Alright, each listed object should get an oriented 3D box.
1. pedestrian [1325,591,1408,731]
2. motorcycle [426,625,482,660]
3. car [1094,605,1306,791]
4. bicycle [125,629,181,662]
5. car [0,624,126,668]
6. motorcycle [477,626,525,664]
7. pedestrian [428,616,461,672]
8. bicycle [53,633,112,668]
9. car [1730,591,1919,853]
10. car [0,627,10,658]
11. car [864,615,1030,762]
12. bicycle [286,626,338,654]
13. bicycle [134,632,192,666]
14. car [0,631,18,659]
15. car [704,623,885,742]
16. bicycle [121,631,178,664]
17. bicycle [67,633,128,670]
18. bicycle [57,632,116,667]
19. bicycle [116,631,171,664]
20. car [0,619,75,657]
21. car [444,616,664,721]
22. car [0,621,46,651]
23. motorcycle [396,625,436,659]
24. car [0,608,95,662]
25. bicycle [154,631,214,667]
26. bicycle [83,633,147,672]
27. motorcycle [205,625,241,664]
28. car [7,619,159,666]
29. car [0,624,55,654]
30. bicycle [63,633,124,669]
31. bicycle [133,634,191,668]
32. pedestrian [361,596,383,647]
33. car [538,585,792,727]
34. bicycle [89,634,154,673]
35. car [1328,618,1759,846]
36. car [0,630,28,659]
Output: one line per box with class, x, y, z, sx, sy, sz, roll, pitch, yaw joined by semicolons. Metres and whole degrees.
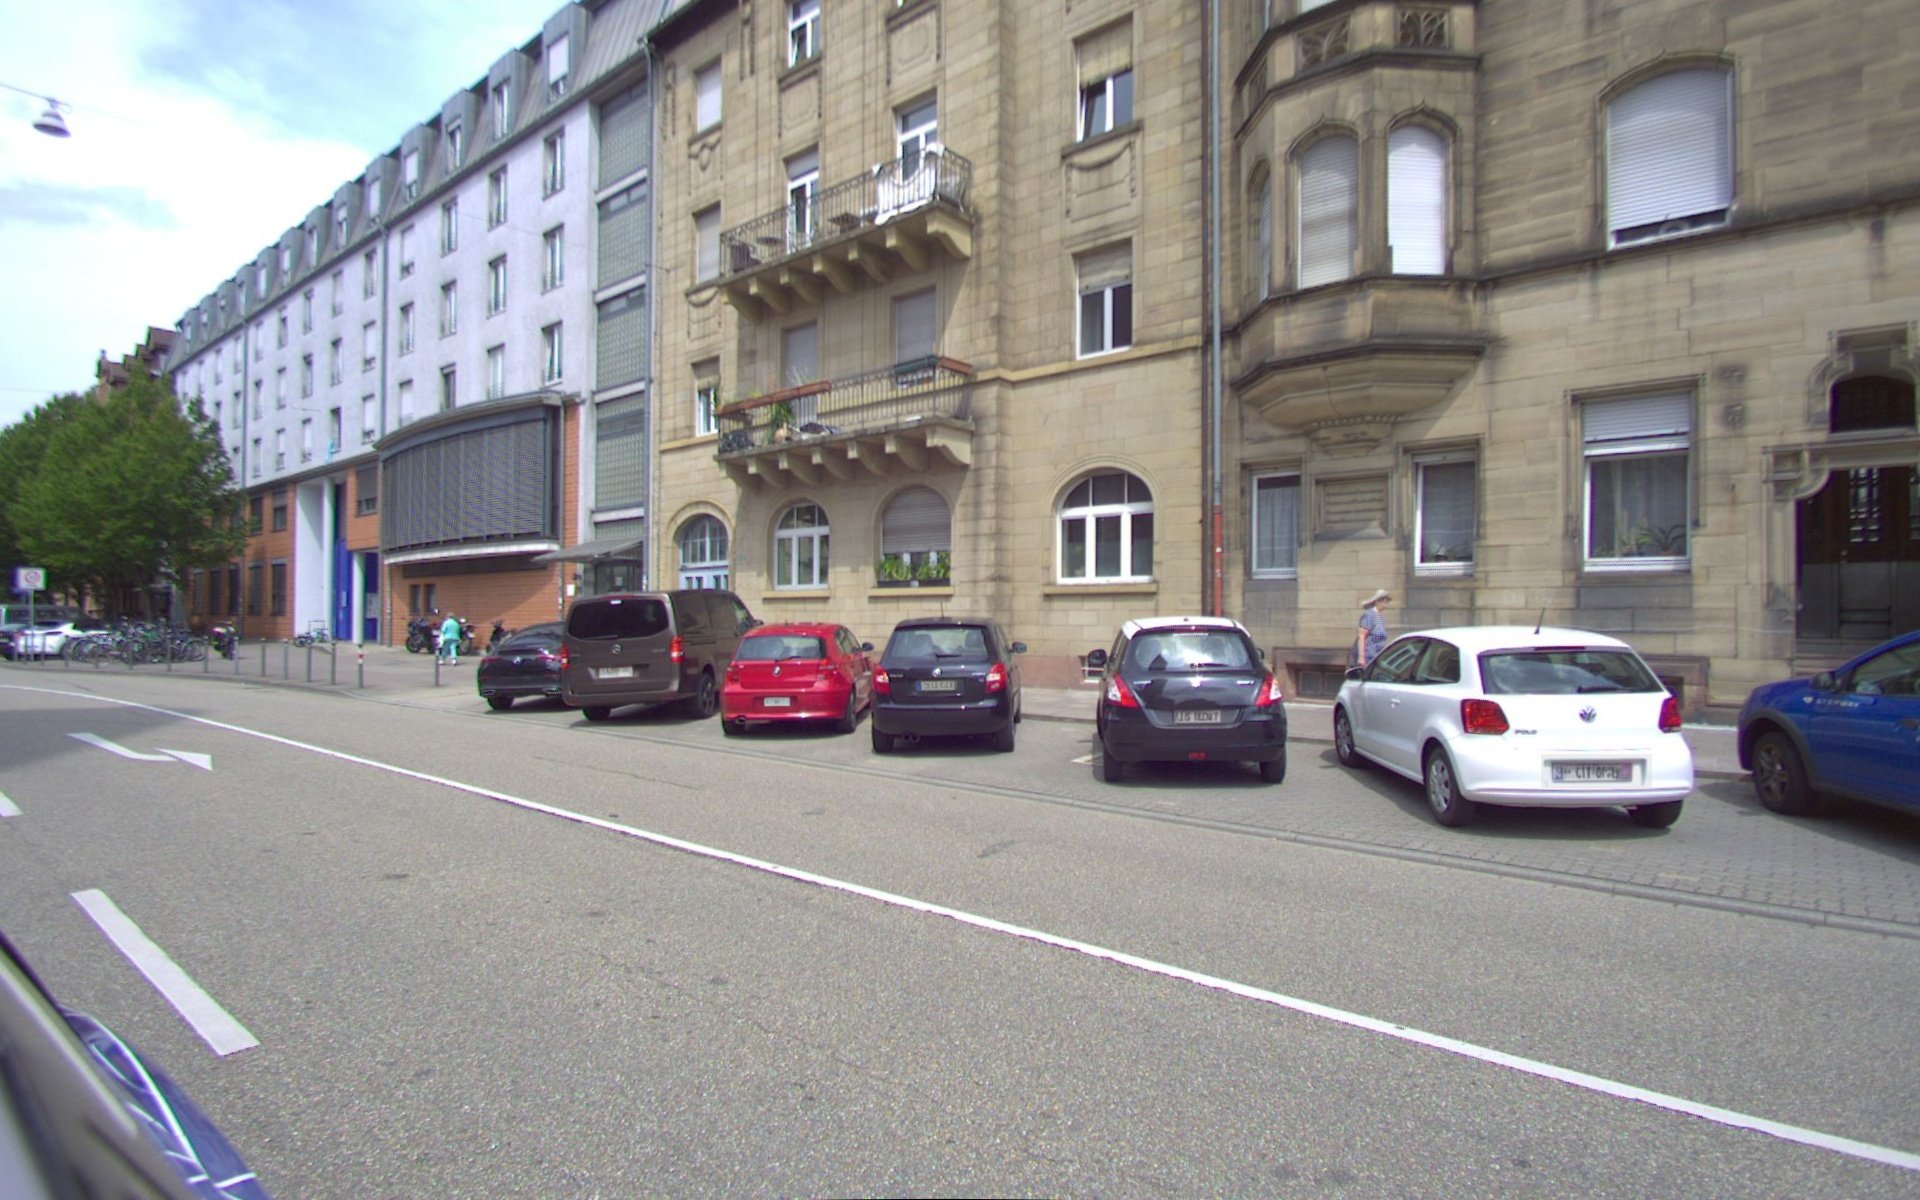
pedestrian;4.932;0.711;12.273;0.678;1.607;0.783;-1;0;41
motorcycle;-15.854;1.346;31.674;1.959;1.057;0.579;-2;-1;30
car;2.364;0.892;10.737;1.776;1.576;4.001;-1;-2;9
bicycle;-26.017;1.460;32.639;0.402;1.034;1.390;-2;-2;43
car;-32.800;1.620;36.420;1.697;1.480;4.307;-1;-2;7
motorcycle;-13.199;1.287;29.085;1.793;1.057;0.577;-2;-1;42
pedestrian;-13.871;1.172;27.237;0.508;1.497;0.653;-2;-2;39
bicycle;-28.645;1.642;33.043;0.402;1.034;1.391;-2;0;43
car;6.940;0.765;6.209;1.703;1.664;3.772;0;-2;5
car;-59.857;2.597;60.702;1.671;1.872;4.035;-1;-2;7
car;-0.007;0.973;12.559;1.611;1.514;3.989;-1;-2;6
bicycle;-25.801;1.585;40.301;1.590;0.933;0.933;-6;2;-37
bicycle;-25.024;1.532;31.792;0.402;1.034;1.390;-2;-2;43
car;-55.276;2.565;56.327;1.671;1.580;3.996;-1;-2;7
car;-2.148;1.049;14.218;1.772;1.420;4.009;0;-2;2
bicycle;-26.381;1.541;32.957;0.402;1.034;1.390;-2;-2;43
bicycle;-26.611;1.567;31.236;0.402;1.046;1.391;-2;0;43
bicycle;-28.043;1.586;32.506;0.402;1.034;1.391;-2;0;43
bicycle;-27.309;1.584;33.845;0.402;1.034;1.390;-2;-2;43
car;-41.289;1.660;44.122;1.692;1.627;3.996;-1;-2;7
car;-7.005;1.106;18.067;1.874;1.420;4.669;-2;1;2
car;-47.203;1.752;49.206;1.671;1.465;3.996;-1;-2;7
motorcycle;-17.830;1.380;33.168;1.655;1.057;0.577;-2;-1;40
car;-37.168;1.354;40.239;1.841;2.013;3.993;-1;0;10
bicycle;-23.571;1.487;30.755;0.402;1.034;1.390;-2;-2;43
bicycle;-25.033;1.551;30.002;0.402;1.046;1.391;-2;0;43
motorcycle;-23.213;1.403;31.867;1.779;1.181;0.577;-2;-1;43
car;-30.600;1.469;35.475;1.583;1.557;3.997;-1;-2;7
car;-45.468;1.865;47.824;1.577;1.400;3.996;-1;-2;7
bicycle;-27.096;1.573;31.657;0.402;1.034;1.391;-2;0;43
bicycle;-25.345;1.606;32.161;0.402;1.034;1.390;-2;-2;43
pedestrian;-23.730;0.867;40.857;0.718;2.029;0.785;1;-2;-29
car;-4.482;0.835;16.444;2.096;1.924;5.260;-1;-2;7
bicycle;-24.368;1.535;29.410;0.402;1.046;1.391;-2;0;43
car;4.534;0.922;8.576;1.720;1.493;3.680;0;-2;5
car;-53.215;2.421;54.752;1.671;1.580;3.996;-1;-2;7
